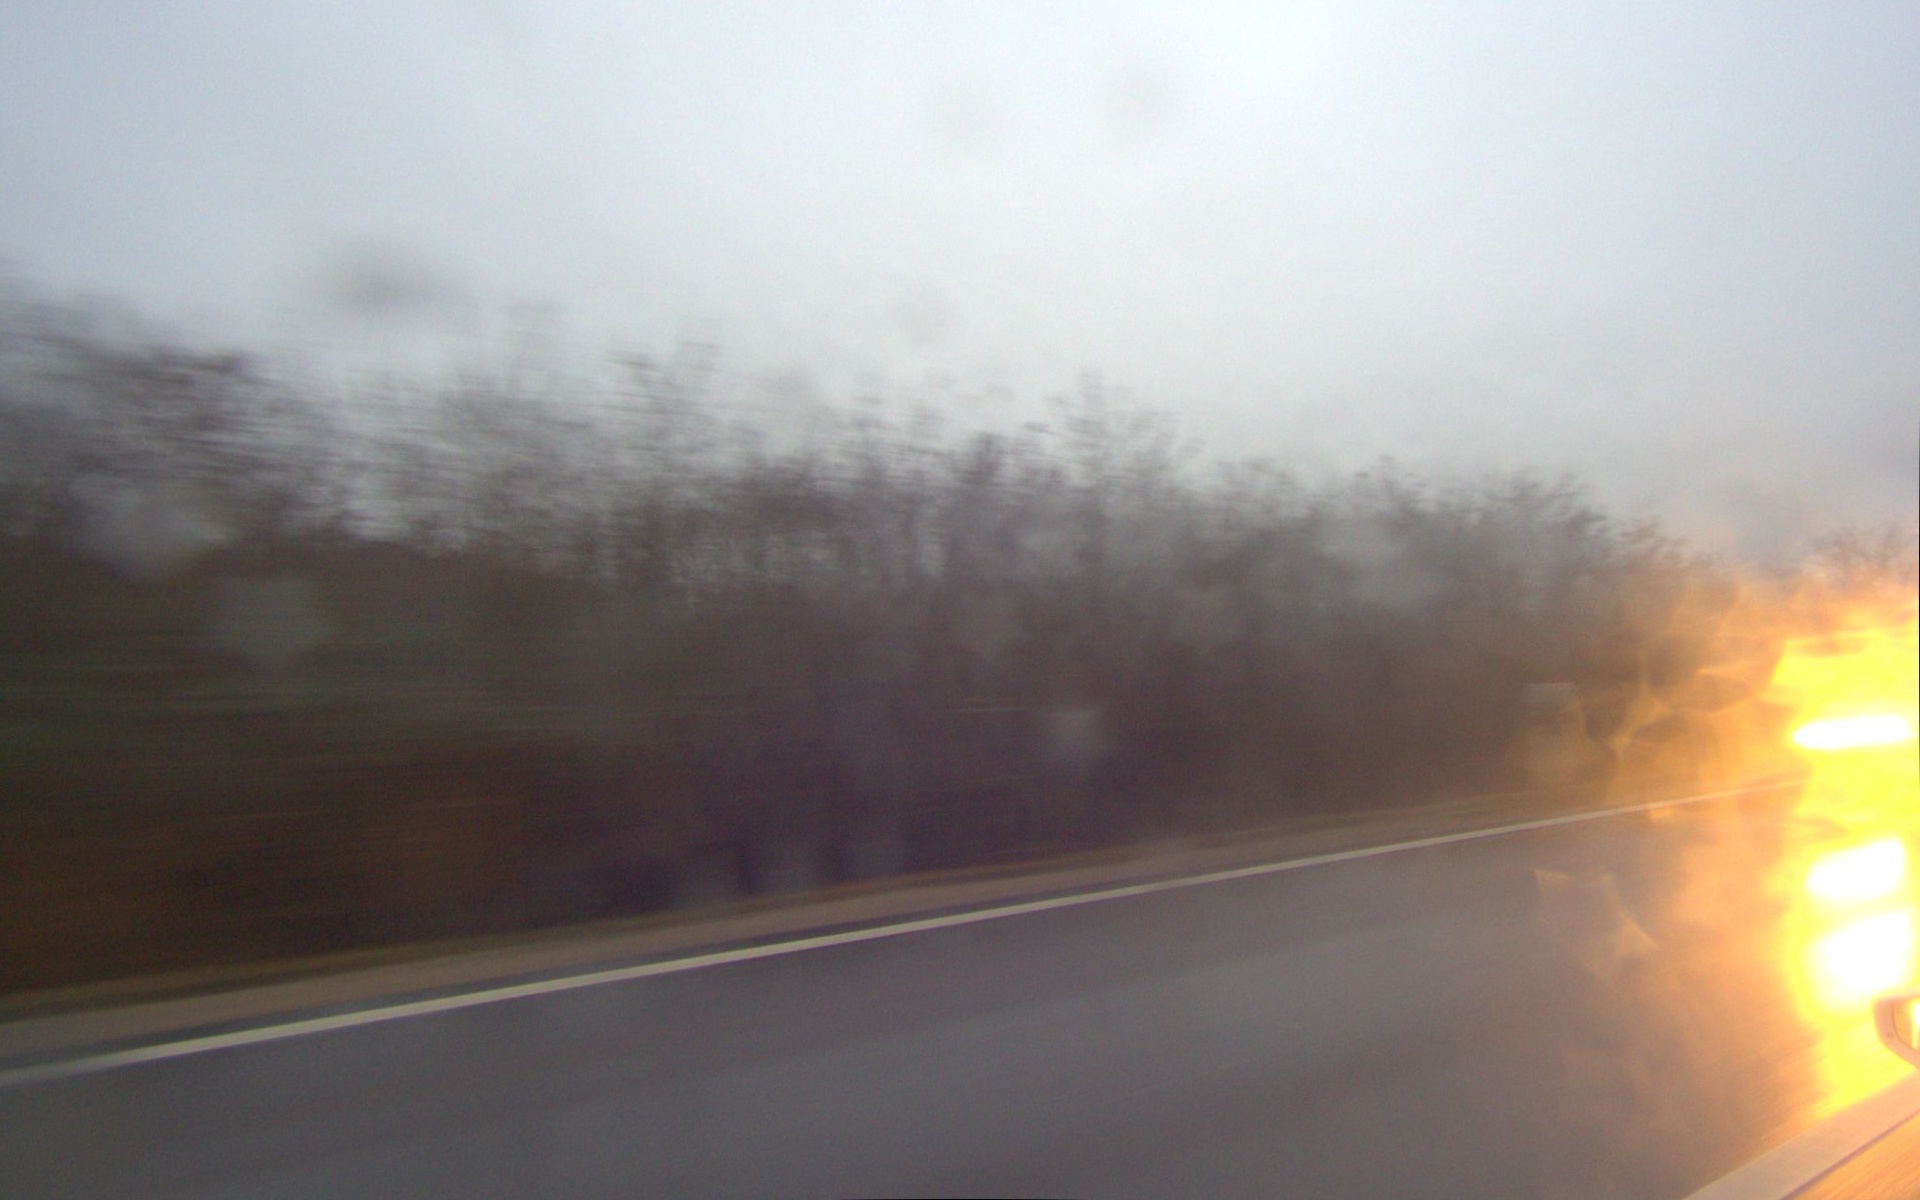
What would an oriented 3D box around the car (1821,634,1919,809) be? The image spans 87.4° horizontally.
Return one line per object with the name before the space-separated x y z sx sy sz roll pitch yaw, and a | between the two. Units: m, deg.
car | 9.899 1.064 9.400 3.937 1.476 1.624 1 -3 -31
